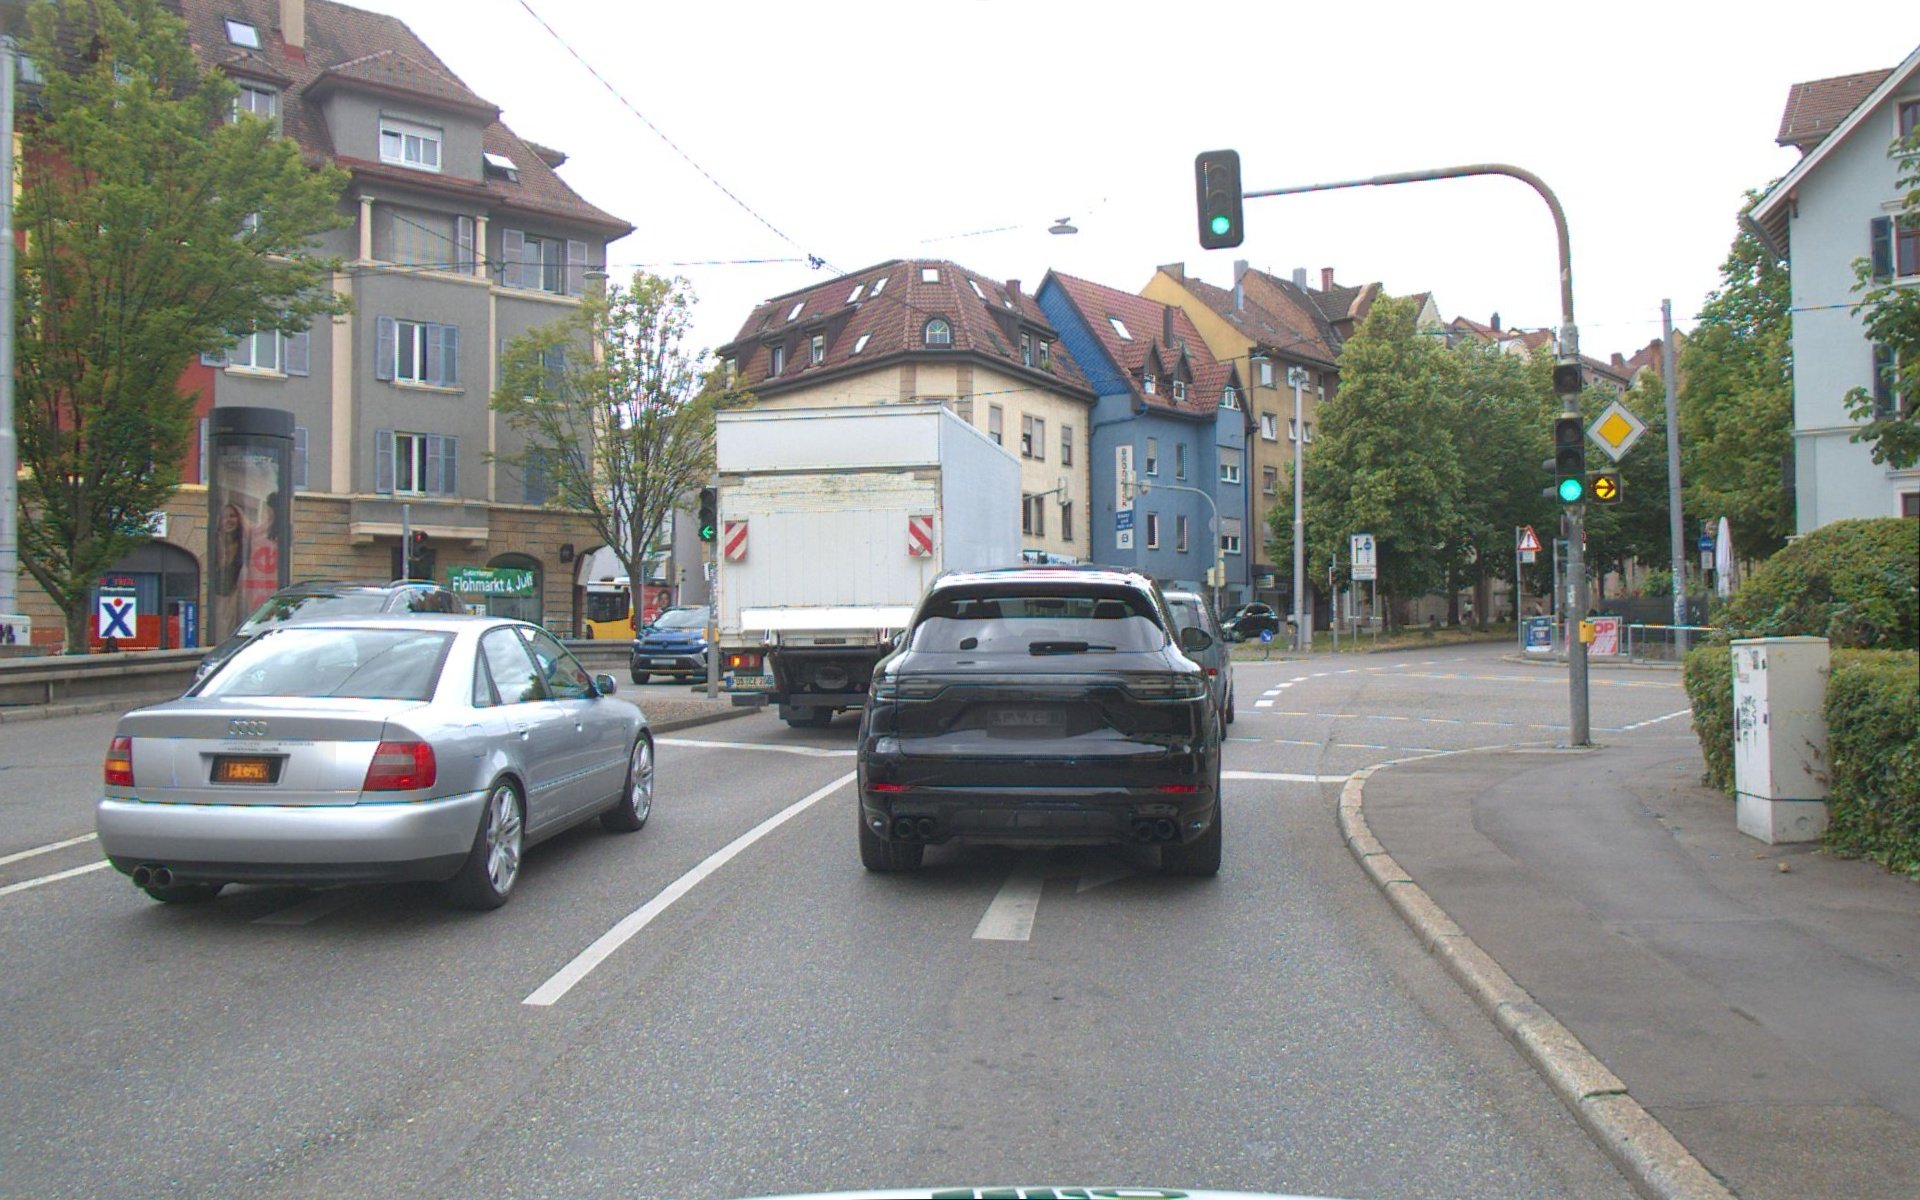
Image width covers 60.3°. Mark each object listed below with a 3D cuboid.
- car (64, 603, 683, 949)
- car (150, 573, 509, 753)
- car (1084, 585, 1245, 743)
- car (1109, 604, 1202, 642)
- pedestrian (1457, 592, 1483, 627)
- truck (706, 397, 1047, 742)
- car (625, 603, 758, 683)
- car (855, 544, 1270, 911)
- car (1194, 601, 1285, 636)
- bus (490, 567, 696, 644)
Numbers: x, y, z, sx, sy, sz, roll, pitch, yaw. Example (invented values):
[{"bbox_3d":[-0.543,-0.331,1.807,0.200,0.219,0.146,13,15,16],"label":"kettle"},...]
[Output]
[{"bbox_3d":[-2.798,0.729,8.948,1.594,1.389,4.130,1,0,4],"label":"car"},{"bbox_3d":[-6.825,0.622,18.551,1.864,1.744,4.721,0,0,5],"label":"car"},{"bbox_3d":[2.350,0.671,18.711,1.613,1.583,3.585,1,-1,8],"label":"car"},{"bbox_3d":[7.955,0.931,67.053,1.690,1.502,4.196,-2,-2,40],"label":"car"},{"bbox_3d":[30.375,0.568,98.514,1.173,2.049,0.984,-1,-1,38],"label":"pedestrian"},{"bbox_3d":[-0.685,-0.331,21.679,2.667,3.606,8.428,1,0,9],"label":"truck"},{"bbox_3d":[-5.485,0.848,34.253,1.749,1.558,4.038,0,0,5],"label":"car"},{"bbox_3d":[0.503,0.606,10.291,1.990,1.753,4.500,1,0,0],"label":"car"},{"bbox_3d":[12.251,0.836,72.309,1.841,1.441,4.674,-2,-2,40],"label":"car"},{"bbox_3d":[-16.474,0.271,73.365,3.144,3.150,11.952,1,-1,-44],"label":"bus"}]
